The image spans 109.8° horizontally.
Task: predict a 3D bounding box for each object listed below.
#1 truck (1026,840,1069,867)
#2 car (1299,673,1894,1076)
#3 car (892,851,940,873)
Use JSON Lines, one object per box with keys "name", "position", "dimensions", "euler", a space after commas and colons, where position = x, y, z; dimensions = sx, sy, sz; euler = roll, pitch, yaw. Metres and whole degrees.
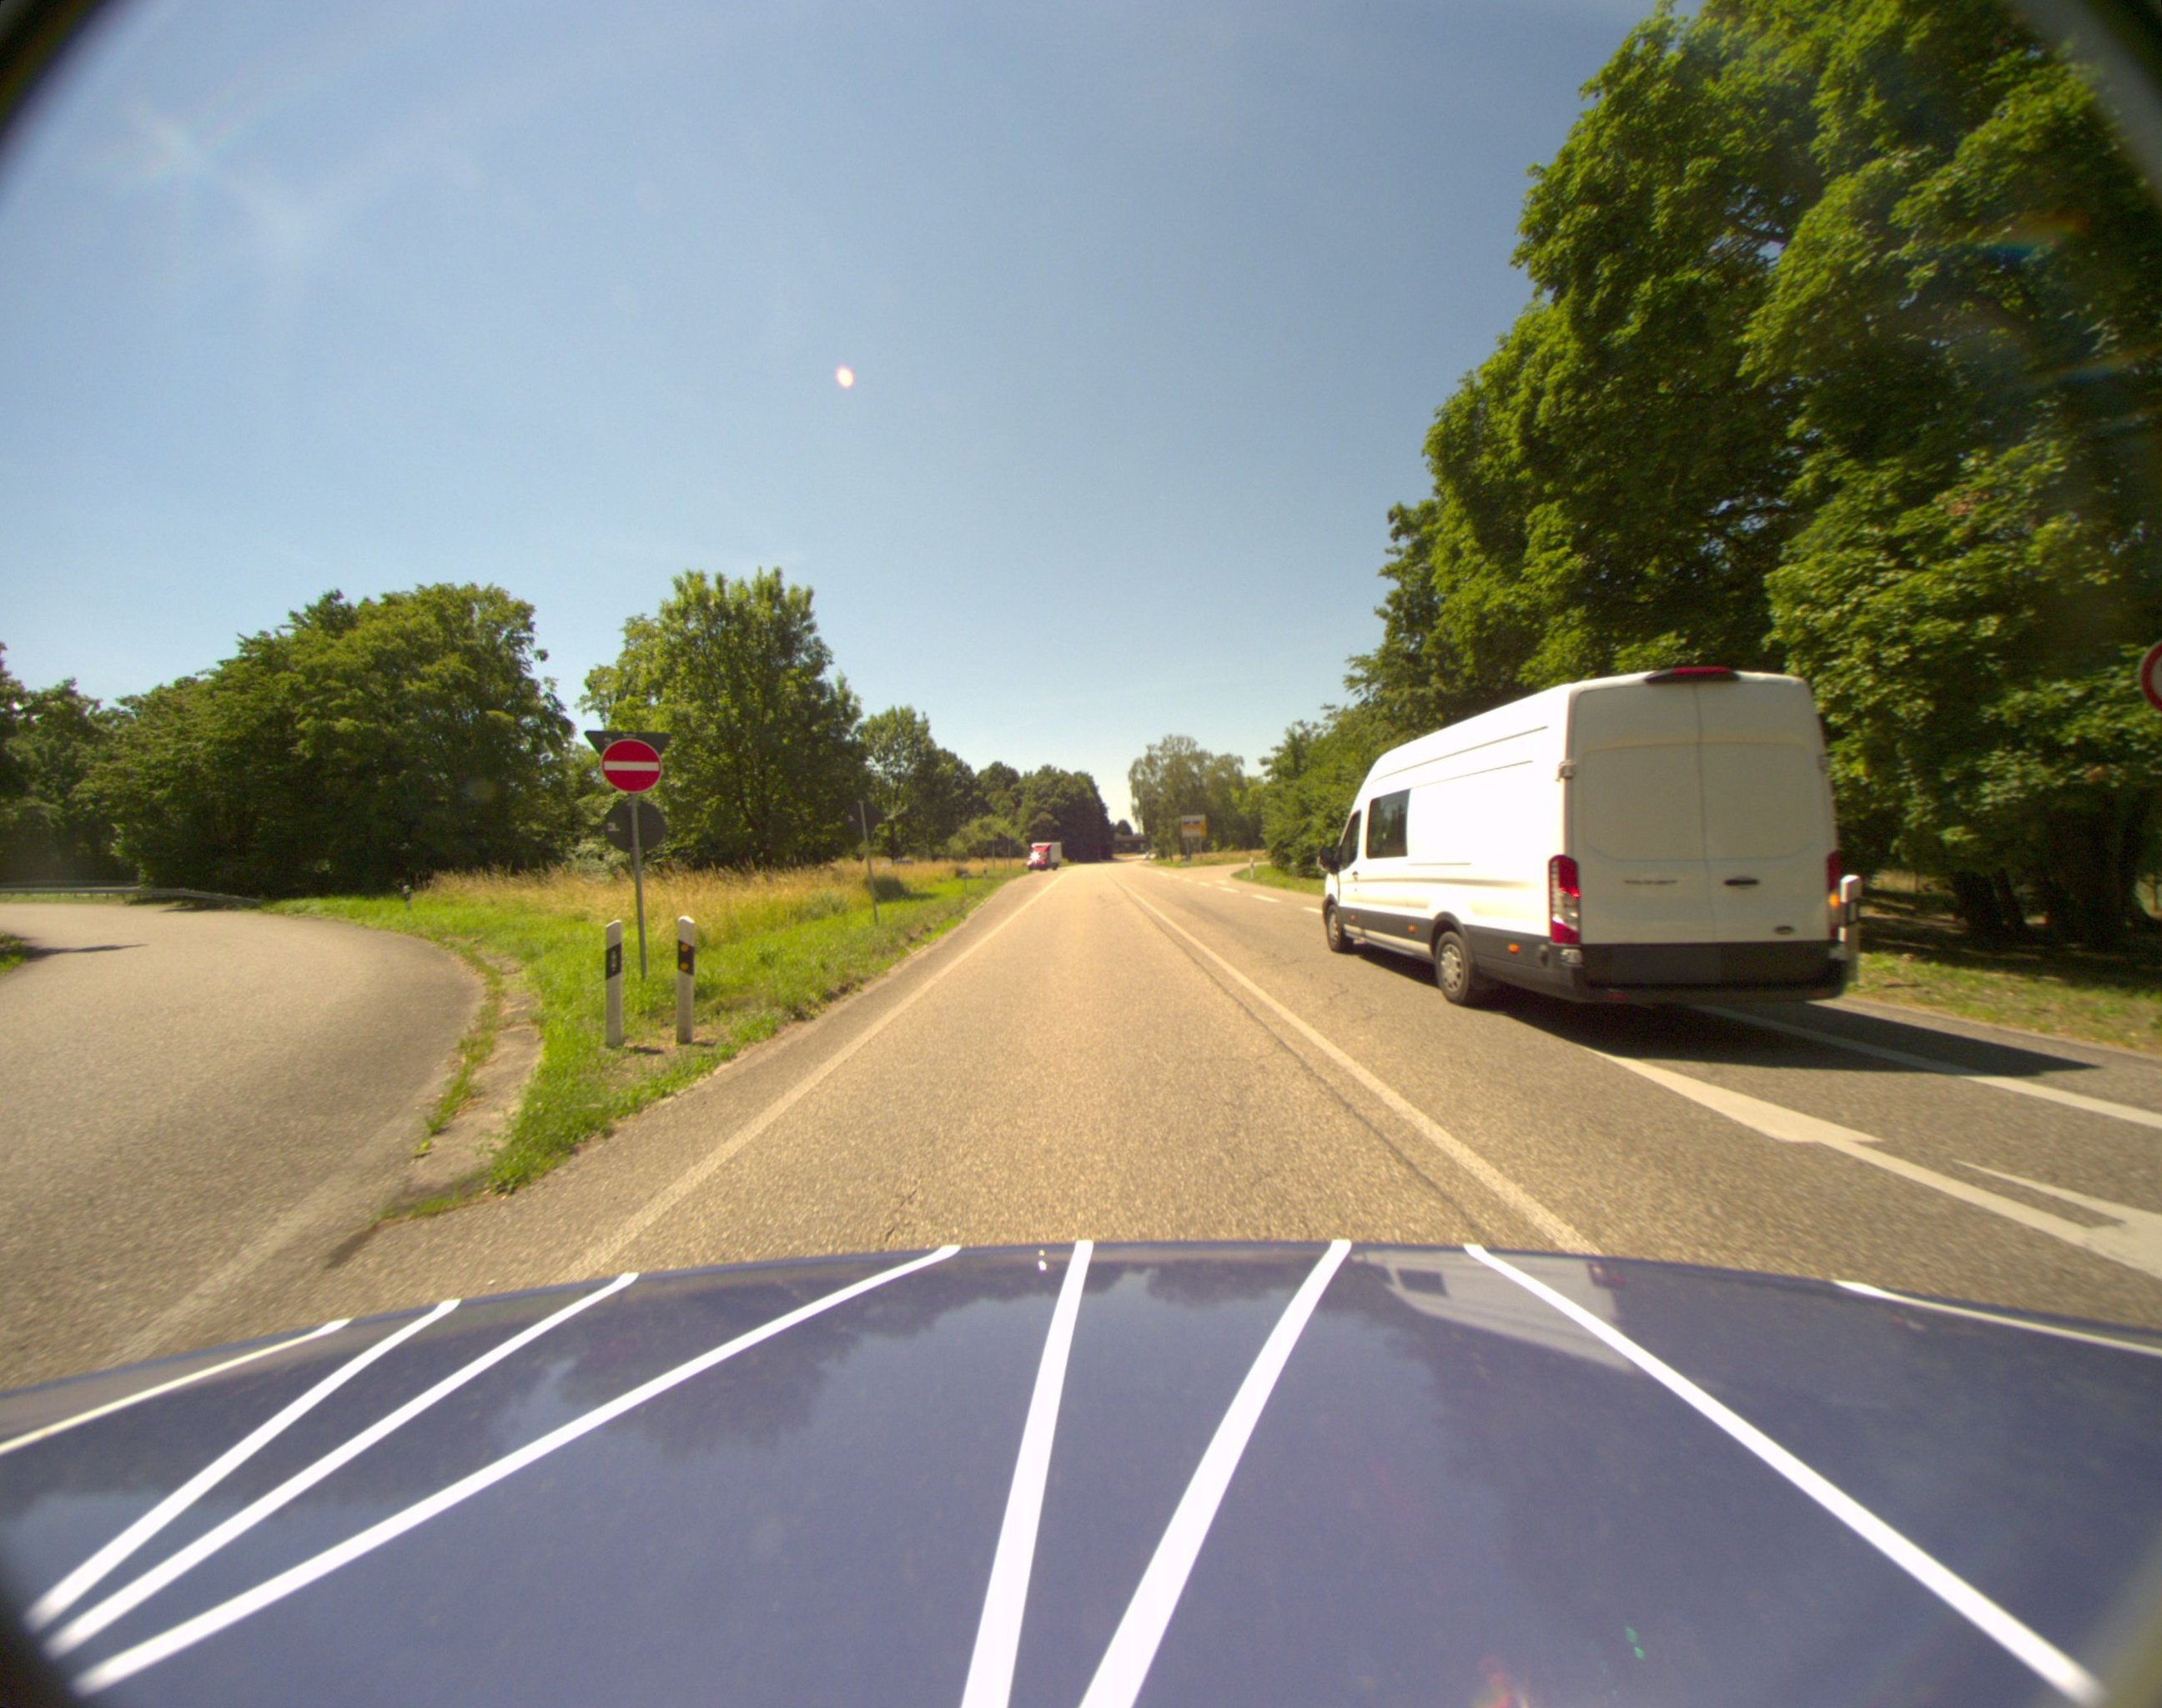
{"name": "truck", "position": [-3.738, -0.144, 87.059], "dimensions": [2.454, 2.927, 6.982], "euler": [-1, 1, 18]}
{"name": "car", "position": [4.388, 0.110, 8.413], "dimensions": [2.078, 2.612, 6.783], "euler": [-2, 1, 1]}
{"name": "car", "position": [-14.711, 0.681, 67.953], "dimensions": [1.743, 1.833, 4.008], "euler": [0, 1, 38]}
